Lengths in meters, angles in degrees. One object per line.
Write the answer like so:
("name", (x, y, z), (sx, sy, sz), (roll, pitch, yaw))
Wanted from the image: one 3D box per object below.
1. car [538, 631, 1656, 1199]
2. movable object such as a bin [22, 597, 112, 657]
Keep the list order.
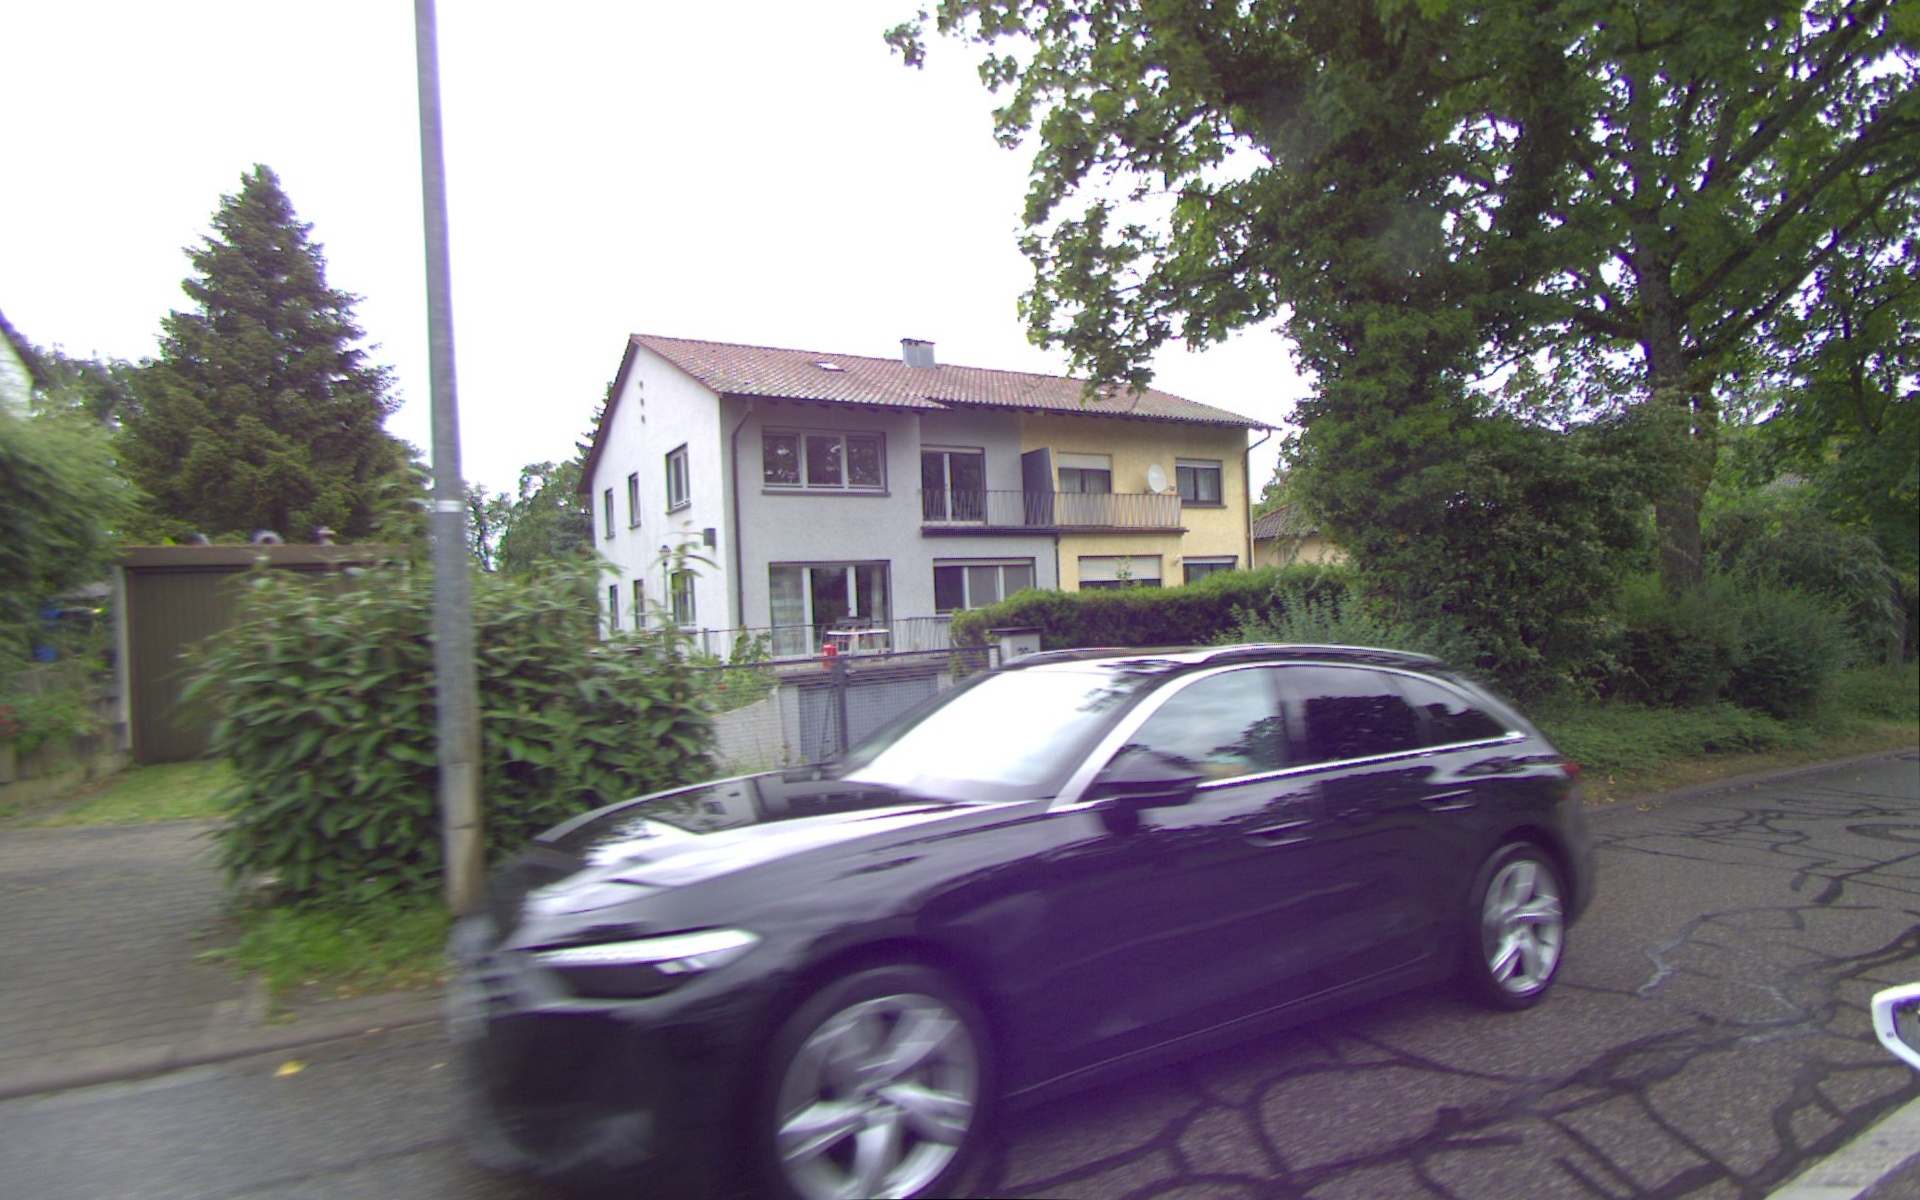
("car", (0.742, 0.881, 4.011), (4.276, 1.381, 1.746), (0, -2, -32))
("movable object such as a bin", (-15.817, 0.462, 17.822), (1.005, 1.022, 1.017), (0, 0, -30))
